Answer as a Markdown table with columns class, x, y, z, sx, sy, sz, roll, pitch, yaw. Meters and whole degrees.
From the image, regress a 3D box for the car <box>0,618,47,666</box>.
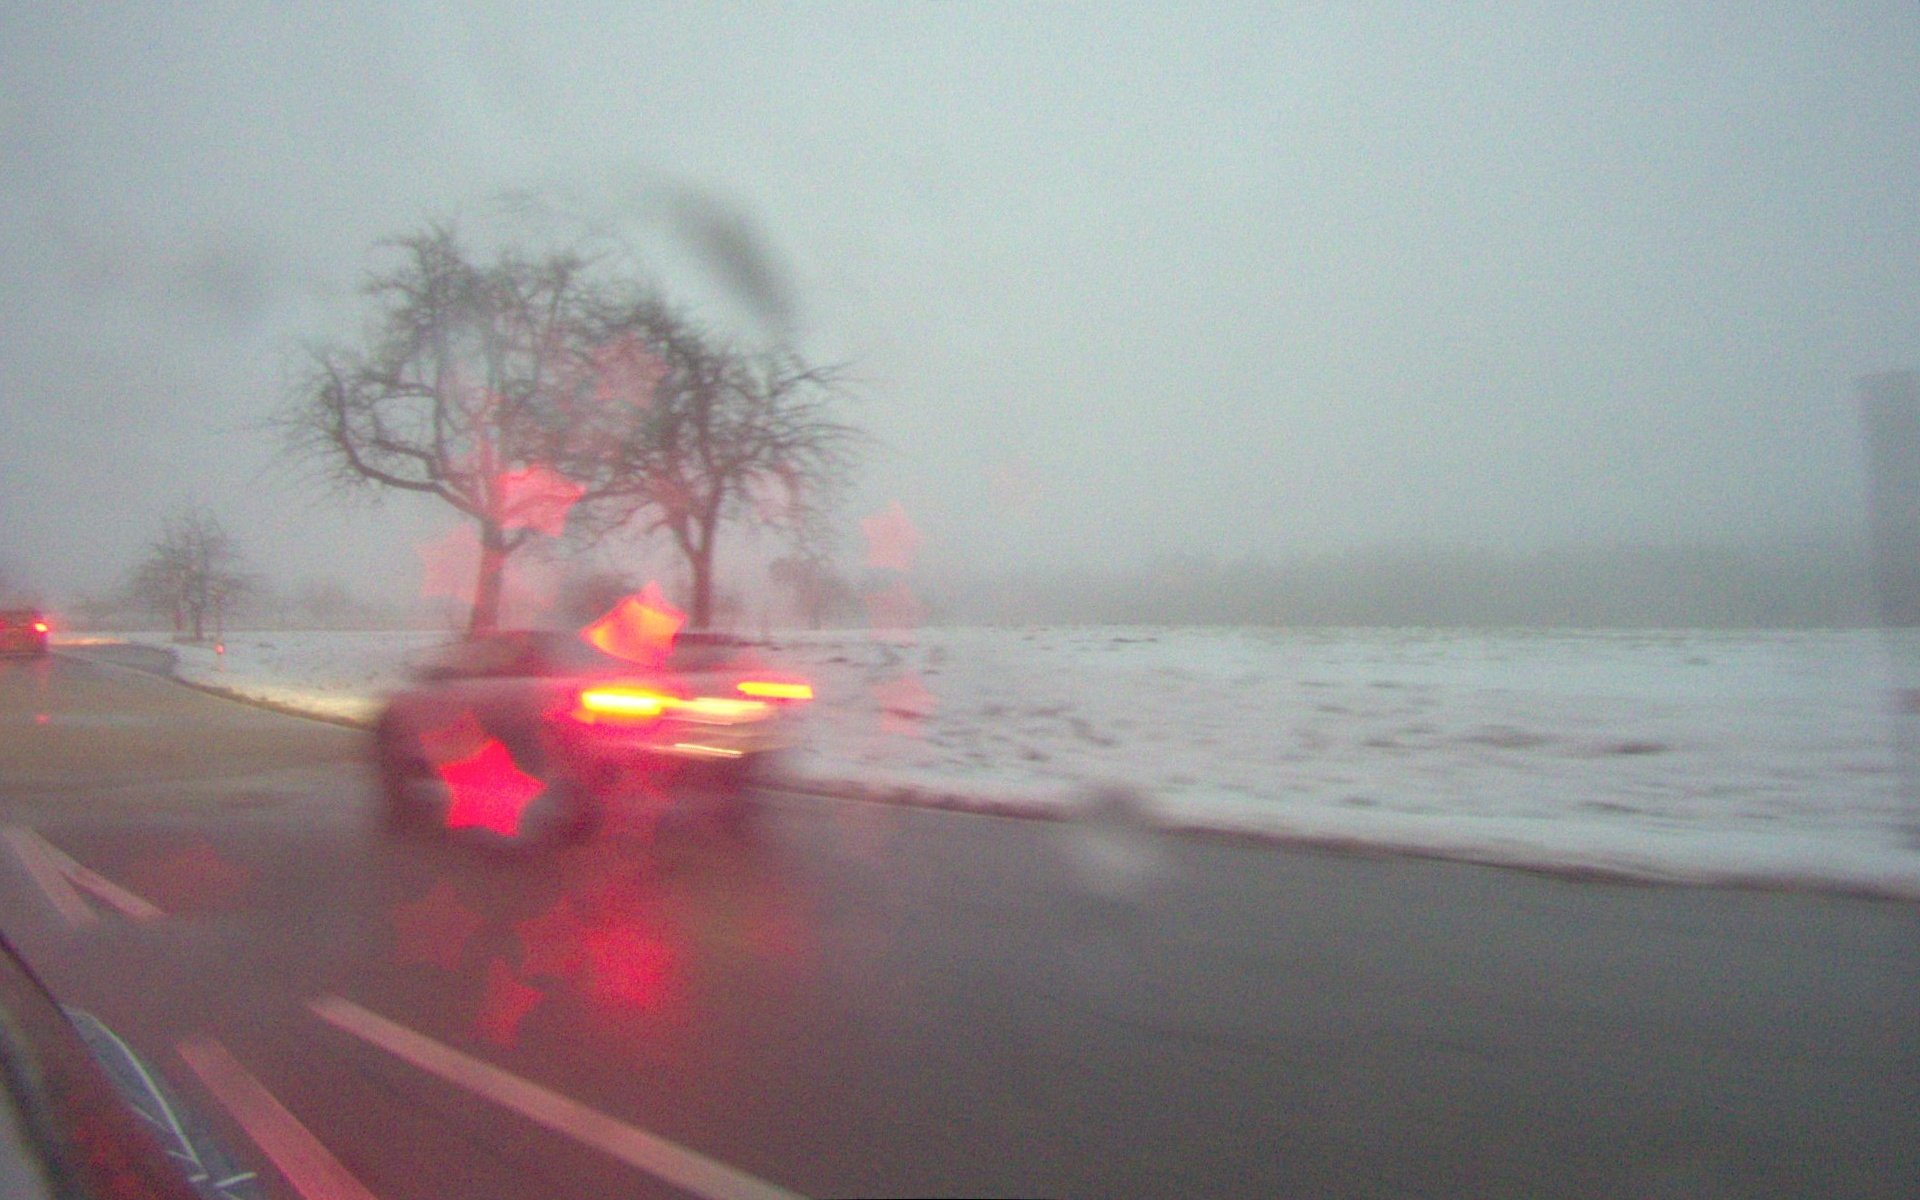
| class | x | y | z | sx | sy | sz | roll | pitch | yaw |
| --- | --- | --- | --- | --- | --- | --- | --- | --- | --- |
| car | -35.620 | 1.574 | 38.130 | 1.731 | 1.706 | 4.430 | 0 | -1 | -43 |

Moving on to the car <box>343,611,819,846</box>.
| class | x | y | z | sx | sy | sz | roll | pitch | yaw |
| --- | --- | --- | --- | --- | --- | --- | --- | --- | --- |
| car | -3.219 | 0.908 | 8.329 | 3.995 | 1.498 | 1.726 | -2 | -3 | 35 |
